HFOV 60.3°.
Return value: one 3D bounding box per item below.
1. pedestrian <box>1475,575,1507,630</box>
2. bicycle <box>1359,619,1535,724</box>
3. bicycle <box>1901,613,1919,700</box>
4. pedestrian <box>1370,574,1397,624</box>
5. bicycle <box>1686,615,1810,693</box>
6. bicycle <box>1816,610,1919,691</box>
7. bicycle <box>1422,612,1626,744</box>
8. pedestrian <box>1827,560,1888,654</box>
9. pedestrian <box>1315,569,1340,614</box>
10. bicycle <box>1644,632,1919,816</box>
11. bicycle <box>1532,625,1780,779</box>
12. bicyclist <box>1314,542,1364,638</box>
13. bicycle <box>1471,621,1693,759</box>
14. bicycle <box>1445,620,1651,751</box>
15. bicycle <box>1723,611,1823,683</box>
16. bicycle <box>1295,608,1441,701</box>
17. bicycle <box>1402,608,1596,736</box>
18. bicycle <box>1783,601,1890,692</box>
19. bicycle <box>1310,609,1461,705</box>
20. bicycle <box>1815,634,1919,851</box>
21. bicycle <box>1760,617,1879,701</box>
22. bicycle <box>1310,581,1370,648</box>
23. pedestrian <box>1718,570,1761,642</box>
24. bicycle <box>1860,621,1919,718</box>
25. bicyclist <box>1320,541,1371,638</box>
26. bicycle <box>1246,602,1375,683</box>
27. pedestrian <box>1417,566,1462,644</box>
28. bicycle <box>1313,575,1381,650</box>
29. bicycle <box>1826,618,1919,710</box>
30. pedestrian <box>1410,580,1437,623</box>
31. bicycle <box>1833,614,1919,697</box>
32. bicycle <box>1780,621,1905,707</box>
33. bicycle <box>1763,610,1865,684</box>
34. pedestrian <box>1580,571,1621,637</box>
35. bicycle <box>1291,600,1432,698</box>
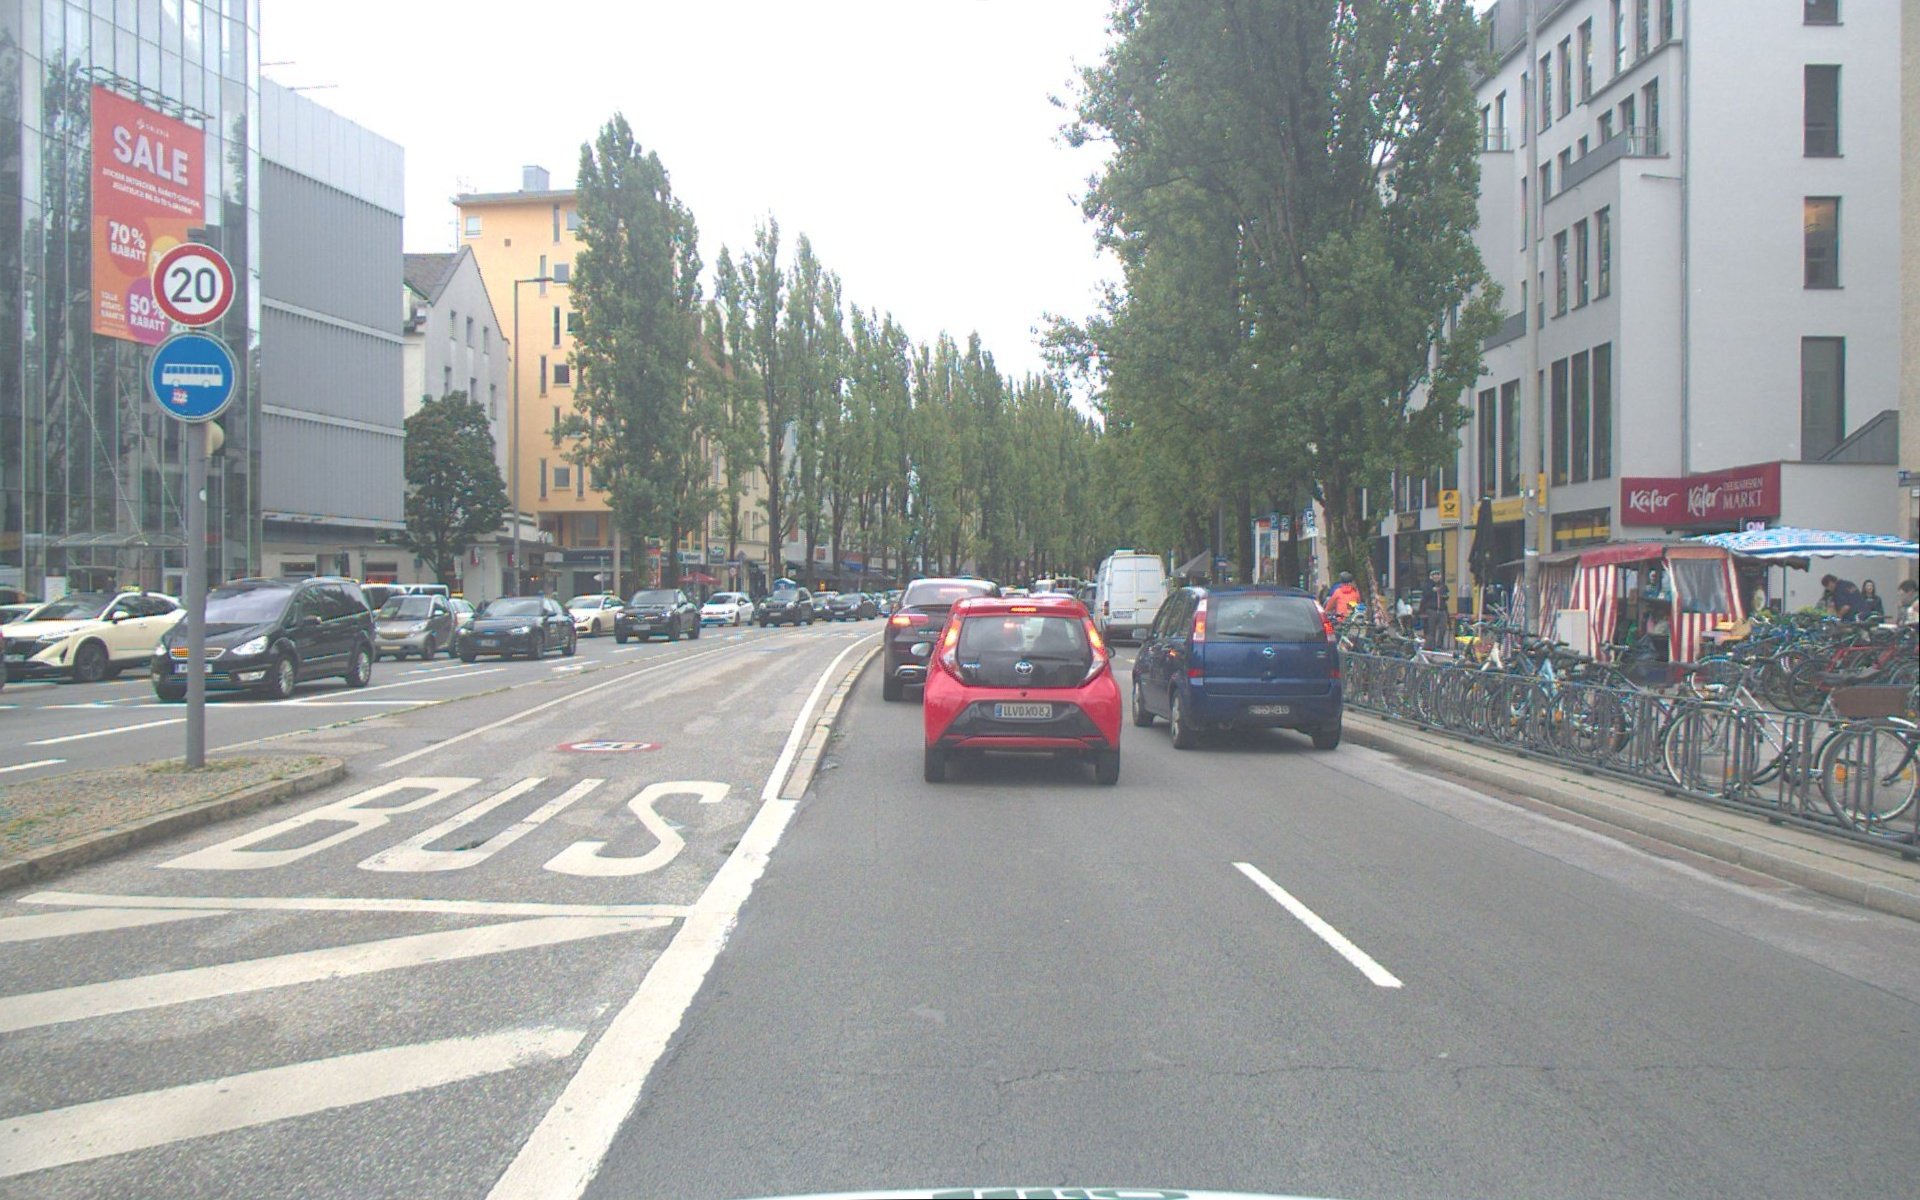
[{"bbox_3d":[15.453,0.057,48.152,0.698,1.585,0.676,0,0,-1],"label":"pedestrian"},{"bbox_3d":[5.370,0.765,18.306,1.805,1.070,0.583,0,1,42],"label":"bicycle"},{"bbox_3d":[11.702,0.655,19.389,1.221,0.998,0.368,-1,0,-10],"label":"bicycle"},{"bbox_3d":[13.708,-0.042,53.575,0.698,1.585,0.676,0,0,-1],"label":"pedestrian"},{"bbox_3d":[10.166,0.690,21.354,1.401,0.980,0.369,-1,0,4],"label":"bicycle"},{"bbox_3d":[11.634,0.639,21.142,1.219,0.998,0.369,-1,0,-3],"label":"bicycle"},{"bbox_3d":[5.475,0.730,16.118,1.805,1.188,0.583,0,1,42],"label":"bicycle"},{"bbox_3d":[14.026,0.105,25.863,0.603,1.450,0.659,-1,0,4],"label":"pedestrian"},{"bbox_3d":[13.476,-0.312,60.657,0.748,1.621,0.676,0,0,-1],"label":"pedestrian"},{"bbox_3d":[5.680,0.805,11.291,1.769,1.130,0.650,0,1,36],"label":"bicycle"},{"bbox_3d":[5.599,0.787,13.366,1.772,1.130,0.559,0,1,41],"label":"bicycle"},{"bbox_3d":[7.720,-0.205,33.706,0.747,1.902,1.132,-1,1,-1],"label":"bicyclist"},{"bbox_3d":[5.539,0.774,14.791,1.772,1.130,0.583,0,1,42],"label":"bicycle"},{"bbox_3d":[5.470,0.766,15.455,1.772,1.130,0.488,0,1,42],"label":"bicycle"},{"bbox_3d":[11.279,0.647,22.961,1.219,0.980,0.369,-1,0,-3],"label":"bicycle"},{"bbox_3d":[5.359,0.700,21.799,1.805,1.156,0.583,0,1,42],"label":"bicycle"},{"bbox_3d":[5.485,0.706,16.901,1.805,1.218,0.583,0,1,42],"label":"bicycle"},{"bbox_3d":[11.526,0.603,21.753,1.219,1.160,0.369,-1,0,-3],"label":"bicycle"},{"bbox_3d":[5.393,0.700,21.039,1.805,1.156,0.583,0,1,42],"label":"bicycle"},{"bbox_3d":[5.800,0.801,9.232,1.768,1.178,0.650,0,1,35],"label":"bicycle"},{"bbox_3d":[10.317,0.699,19.868,1.235,0.980,0.369,-1,0,1],"label":"bicycle"},{"bbox_3d":[7.727,0.269,33.721,0.601,1.287,2.519,-1,1,-1],"label":"bicycle"},{"bbox_3d":[15.667,0.122,33.251,0.586,1.427,0.580,-1,0,-1],"label":"pedestrian"},{"bbox_3d":[10.212,0.716,17.358,1.375,0.980,0.369,-1,0,-7],"label":"bicycle"},{"bbox_3d":[6.921,-0.193,29.736,0.601,1.686,1.251,-1,1,-1],"label":"bicyclist"},{"bbox_3d":[5.230,0.618,24.723,1.800,1.156,0.584,0,1,35],"label":"bicycle"},{"bbox_3d":[11.017,0.110,38.022,0.774,1.758,0.763,-1,0,-1],"label":"pedestrian"},{"bbox_3d":[6.928,0.201,29.698,0.601,1.287,2.519,-1,1,-1],"label":"bicycle"},{"bbox_3d":[10.318,0.704,18.580,1.208,0.980,0.366,-1,0,-23],"label":"bicycle"},{"bbox_3d":[14.509,0.040,51.756,0.625,1.328,0.676,0,0,-1],"label":"pedestrian"},{"bbox_3d":[11.557,0.686,20.564,1.219,0.998,0.369,-1,0,-3],"label":"bicycle"},{"bbox_3d":[10.333,0.749,19.386,1.234,0.980,0.369,-1,0,8],"label":"bicycle"},{"bbox_3d":[11.590,0.636,22.457,1.219,0.980,0.369,-1,0,-3],"label":"bicycle"},{"bbox_3d":[16.119,0.093,41.633,0.718,1.630,0.741,0,0,-1],"label":"pedestrian"},{"bbox_3d":[5.435,0.643,22.468,1.805,1.263,0.583,0,1,42],"label":"bicycle"}]
